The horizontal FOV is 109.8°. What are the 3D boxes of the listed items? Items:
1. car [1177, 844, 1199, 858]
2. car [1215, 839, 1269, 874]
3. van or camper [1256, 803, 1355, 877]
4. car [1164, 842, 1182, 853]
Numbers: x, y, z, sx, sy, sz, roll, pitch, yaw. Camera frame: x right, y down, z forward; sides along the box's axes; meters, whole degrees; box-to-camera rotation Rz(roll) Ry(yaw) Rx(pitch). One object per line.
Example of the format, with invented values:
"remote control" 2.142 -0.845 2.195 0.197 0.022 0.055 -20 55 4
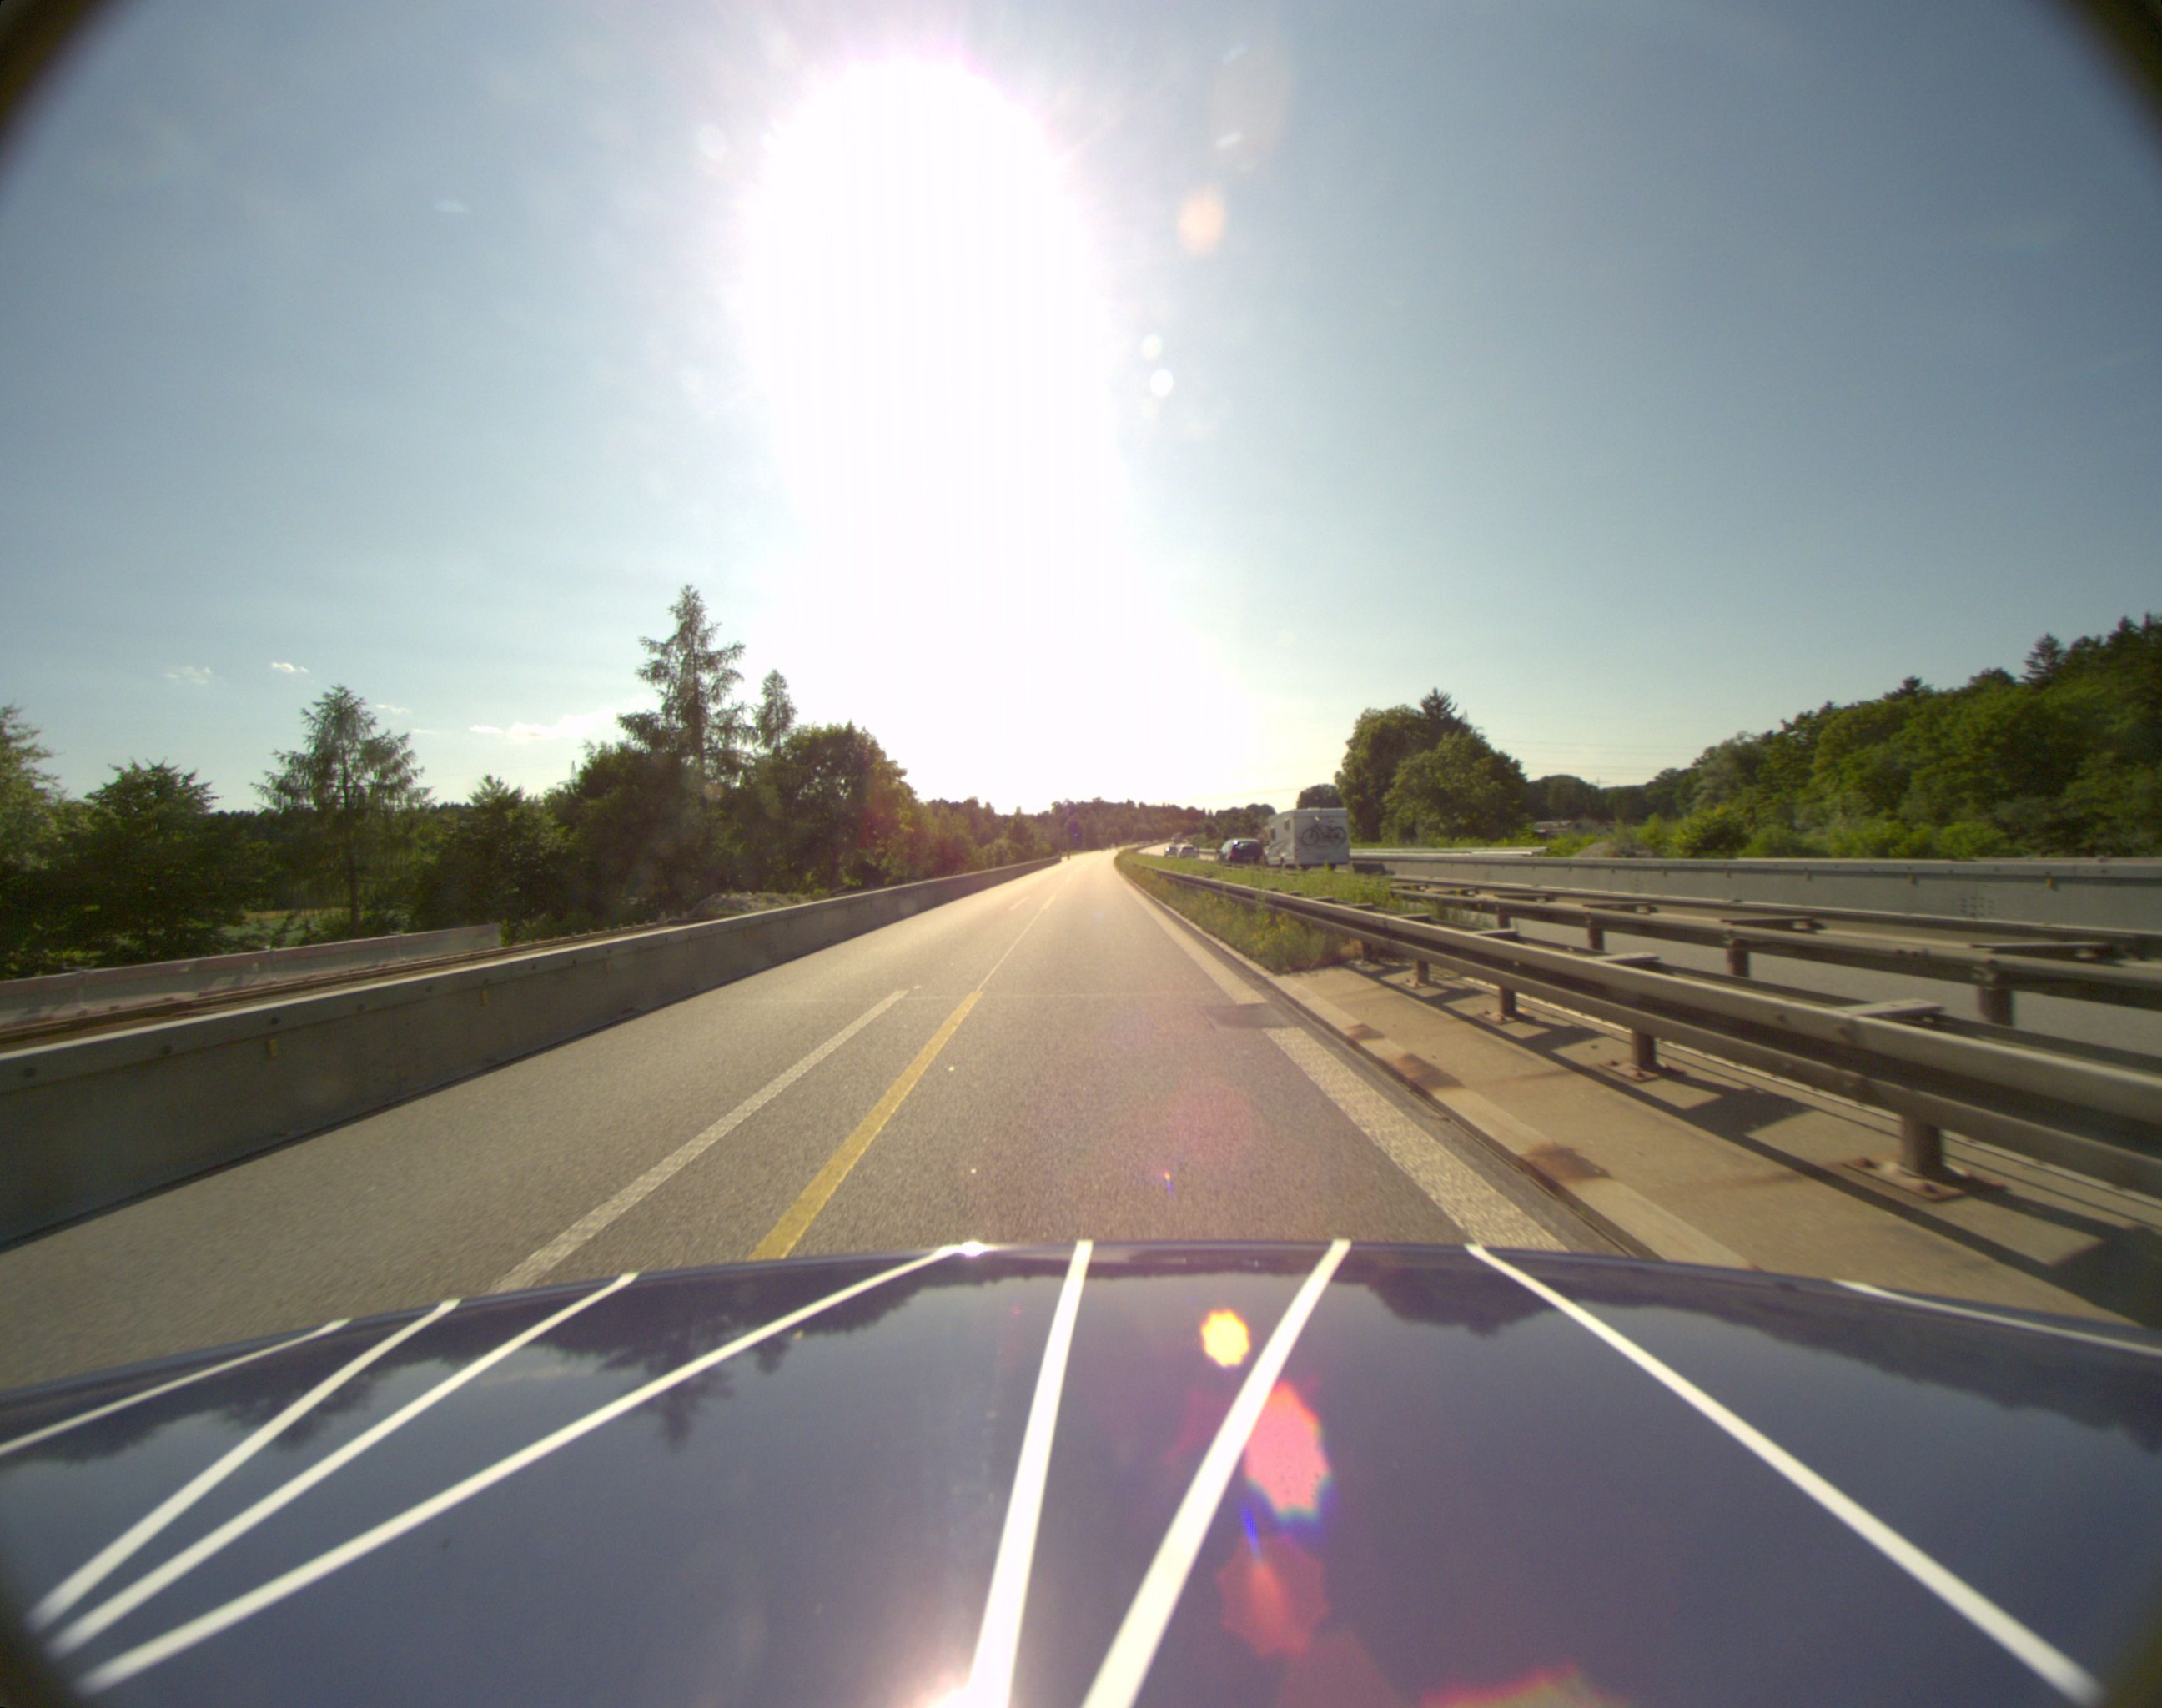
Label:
"car" 11.499 -0.353 82.087 1.705 1.424 4.955 -1 1 1
"car" 7.419 0.096 35.254 1.746 1.521 4.000 -1 1 2
"van or camper" 10.121 -0.620 35.132 2.412 2.933 7.522 -3 1 2
"car" 12.215 -0.909 101.398 1.888 1.424 4.983 -3 1 1
